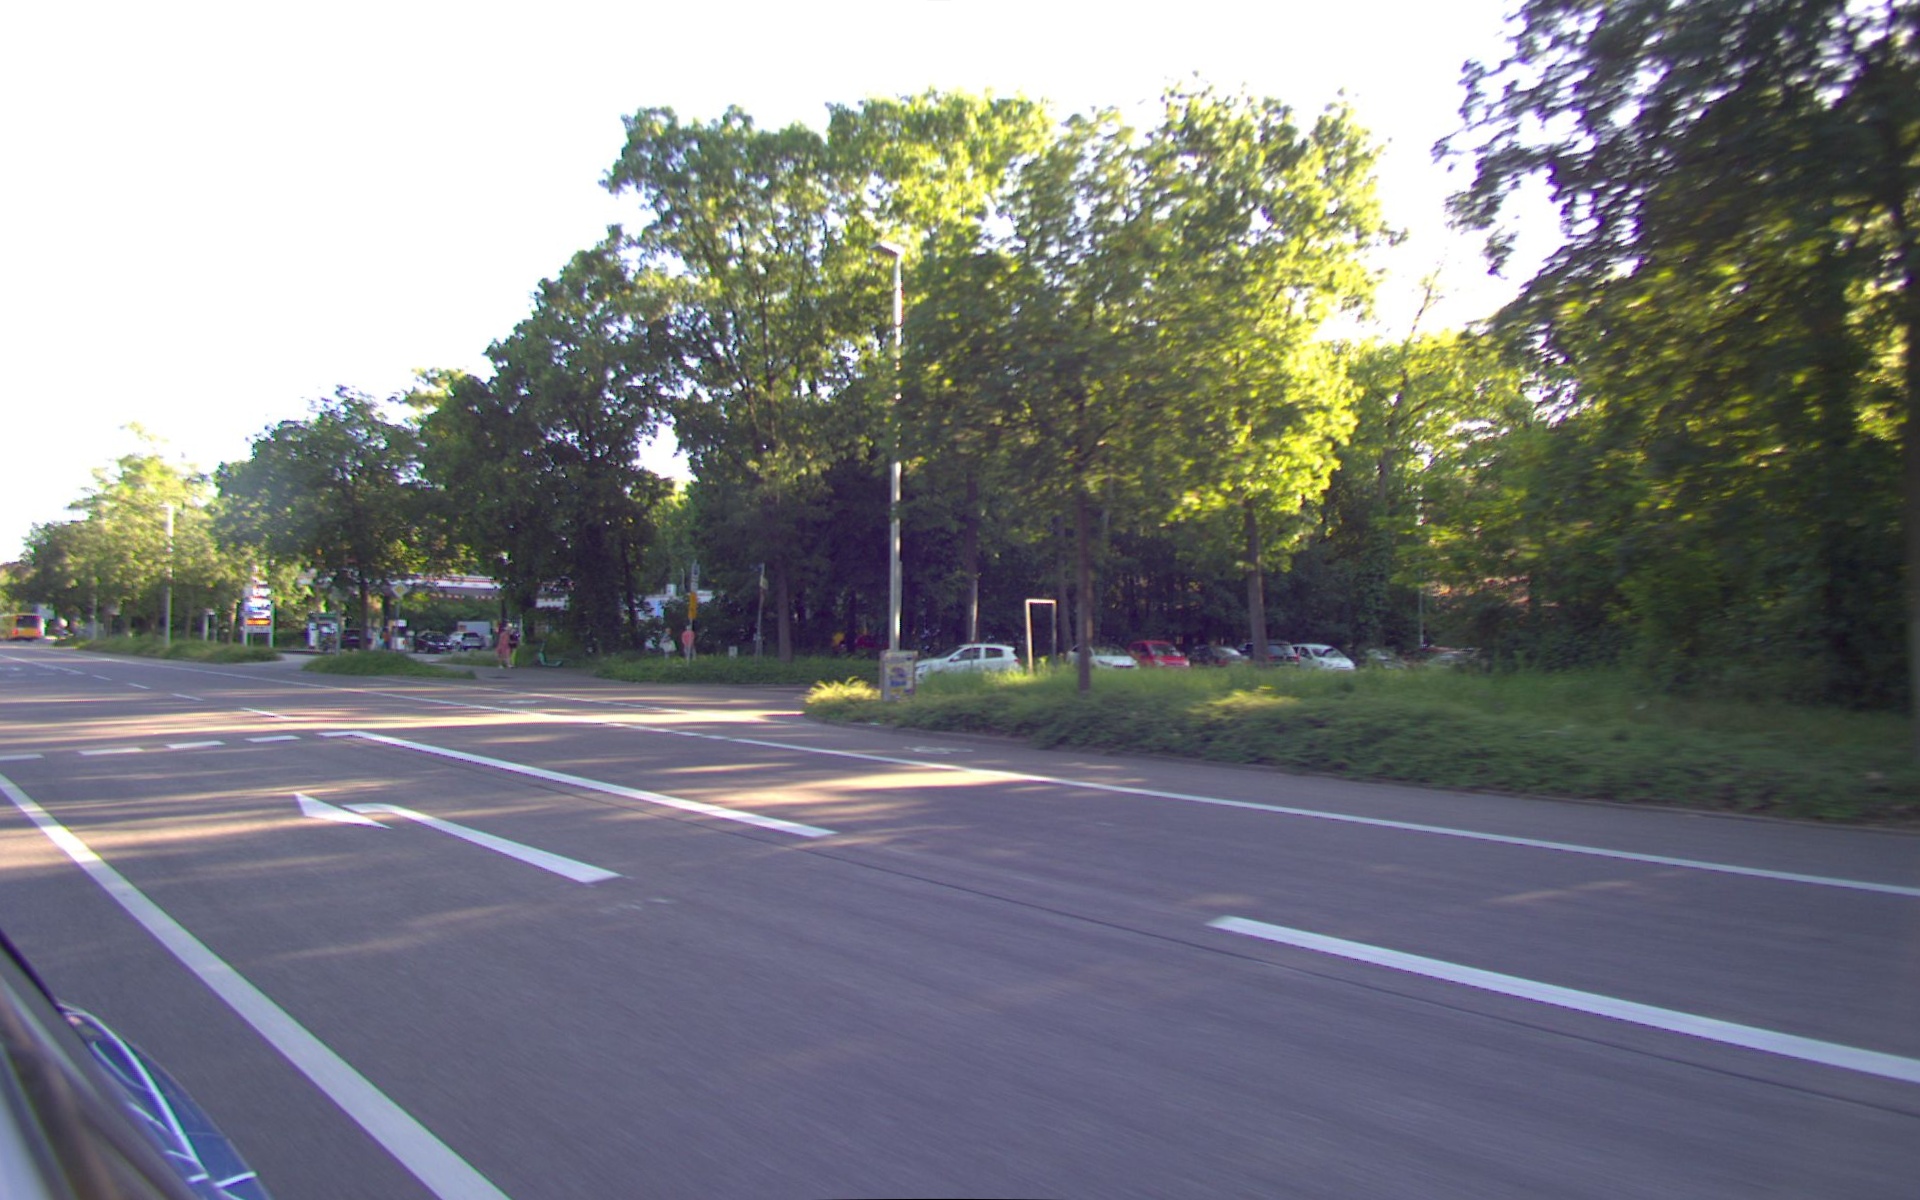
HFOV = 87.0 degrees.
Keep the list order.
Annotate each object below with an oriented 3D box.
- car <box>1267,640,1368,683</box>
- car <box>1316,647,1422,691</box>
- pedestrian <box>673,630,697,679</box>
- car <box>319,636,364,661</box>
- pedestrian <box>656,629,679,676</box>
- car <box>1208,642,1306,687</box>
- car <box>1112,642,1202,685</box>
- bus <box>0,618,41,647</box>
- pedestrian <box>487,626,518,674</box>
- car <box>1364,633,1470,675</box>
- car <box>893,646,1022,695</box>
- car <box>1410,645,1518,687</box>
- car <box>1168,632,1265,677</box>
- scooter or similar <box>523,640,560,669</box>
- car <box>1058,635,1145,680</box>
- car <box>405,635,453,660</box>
[{"bbox_3d":[15.093,2.576,42.977,1.800,1.666,4.304,4,-3,-17],"label":"car"},{"bbox_3d":[17.254,2.889,42.919,1.800,1.666,4.304,4,-3,-17],"label":"car"},{"bbox_3d":[-10.555,2.083,38.856,0.820,1.833,0.738,1,-3,-18],"label":"pedestrian"},{"bbox_3d":[-42.230,3.310,69.041,3.613,1.653,1.734,-2,-3,44],"label":"car"},{"bbox_3d":[-11.446,2.047,39.577,0.820,1.833,0.738,1,-3,-18],"label":"pedestrian"},{"bbox_3d":[12.220,2.639,41.937,1.800,1.666,4.304,4,-3,-17],"label":"car"},{"bbox_3d":[7.925,2.543,41.110,1.799,1.666,4.304,1,-3,-17],"label":"car"},{"bbox_3d":[-115.840,3.998,123.974,9.466,3.434,3.001,-1,-3,37],"label":"bus"},{"bbox_3d":[-17.705,1.926,39.168,0.824,1.833,0.735,0,-3,5],"label":"pedestrian"},{"bbox_3d":[20.000,2.343,44.488,1.800,1.666,4.304,4,-3,-17],"label":"car"},{"bbox_3d":[-0.110,2.323,33.456,3.877,1.537,1.836,1,-3,-15],"label":"car"},{"bbox_3d":[22.362,2.905,45.097,1.800,1.666,4.304,4,-3,-17],"label":"car"},{"bbox_3d":[10.346,2.191,41.213,1.800,1.666,4.304,4,-3,-17],"label":"car"},{"bbox_3d":[-16.575,2.163,40.069,1.333,1.140,0.462,0,-3,17],"label":"scooter or similar"},{"bbox_3d":[5.546,2.257,40.245,1.799,1.666,4.304,1,-3,-17],"label":"car"},{"bbox_3d":[-36.005,3.220,68.551,3.838,1.653,1.734,-2,-3,44],"label":"car"}]
